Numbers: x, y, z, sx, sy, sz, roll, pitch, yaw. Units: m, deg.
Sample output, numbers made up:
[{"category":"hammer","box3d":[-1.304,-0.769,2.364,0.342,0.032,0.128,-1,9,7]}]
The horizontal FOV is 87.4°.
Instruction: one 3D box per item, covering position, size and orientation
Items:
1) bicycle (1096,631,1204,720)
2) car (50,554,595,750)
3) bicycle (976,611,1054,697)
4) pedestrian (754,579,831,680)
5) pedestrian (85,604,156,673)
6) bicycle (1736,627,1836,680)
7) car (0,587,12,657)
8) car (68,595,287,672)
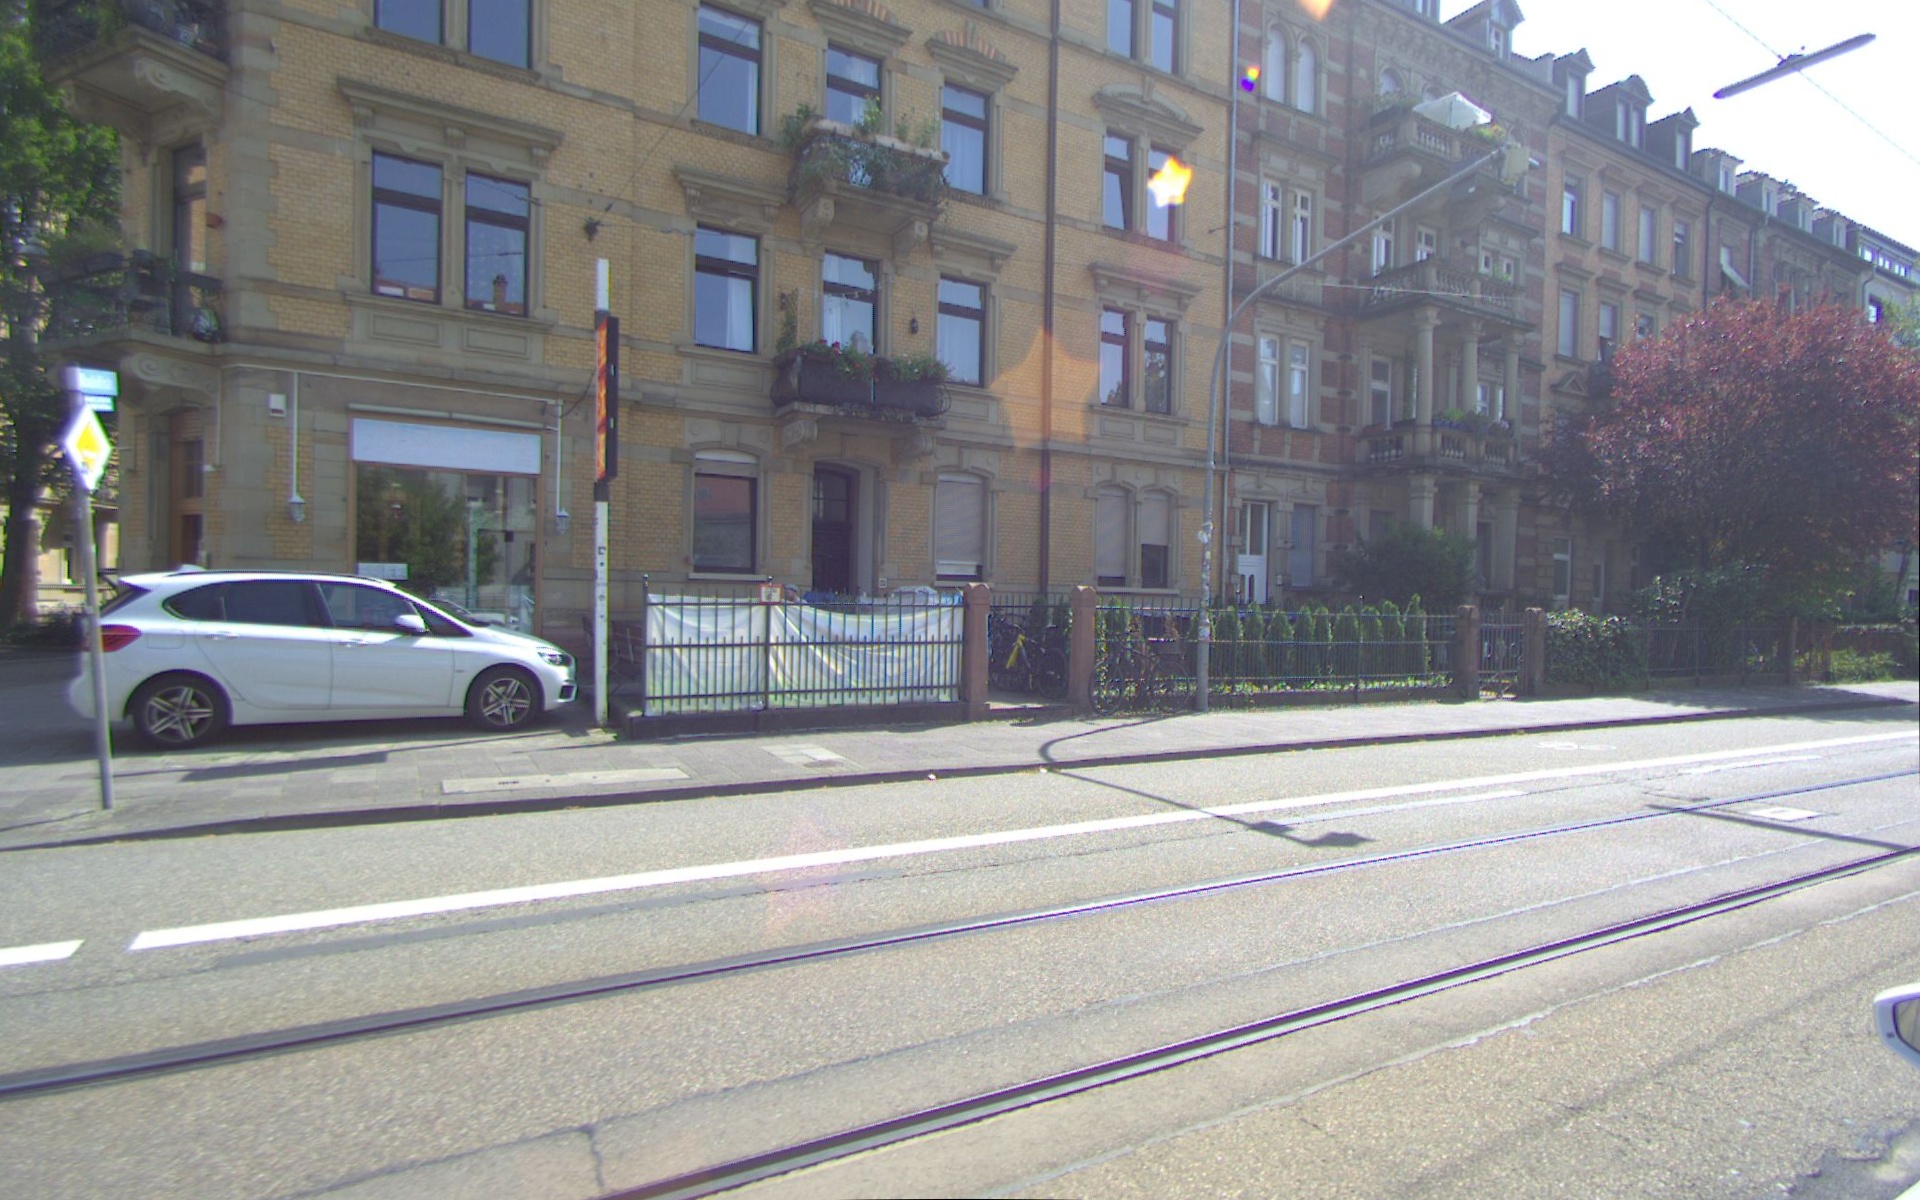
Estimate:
[{"category":"bicycle","box3d":[2.524,0.975,13.297,1.551,1.113,0.388,1,0,-33]},{"category":"car","box3d":[-6.229,0.479,10.313,4.314,1.615,1.981,2,-1,-34]},{"category":"bicycle","box3d":[0.752,0.721,14.097,0.386,1.113,1.558,1,0,-25]},{"category":"pedestrian","box3d":[-2.656,0.455,15.878,0.878,1.531,0.860,1,0,-38]},{"category":"pedestrian","box3d":[-15.778,0.711,18.892,0.786,1.243,0.583,2,0,-4]},{"category":"bicycle","box3d":[20.937,1.335,25.507,0.707,1.198,1.805,2,1,-27]},{"category":"car","box3d":[-23.135,0.407,21.519,3.690,1.563,1.790,3,-1,-9]},{"category":"car","box3d":[-15.987,0.653,20.789,1.741,1.382,3.712,2,-1,-4]}]
